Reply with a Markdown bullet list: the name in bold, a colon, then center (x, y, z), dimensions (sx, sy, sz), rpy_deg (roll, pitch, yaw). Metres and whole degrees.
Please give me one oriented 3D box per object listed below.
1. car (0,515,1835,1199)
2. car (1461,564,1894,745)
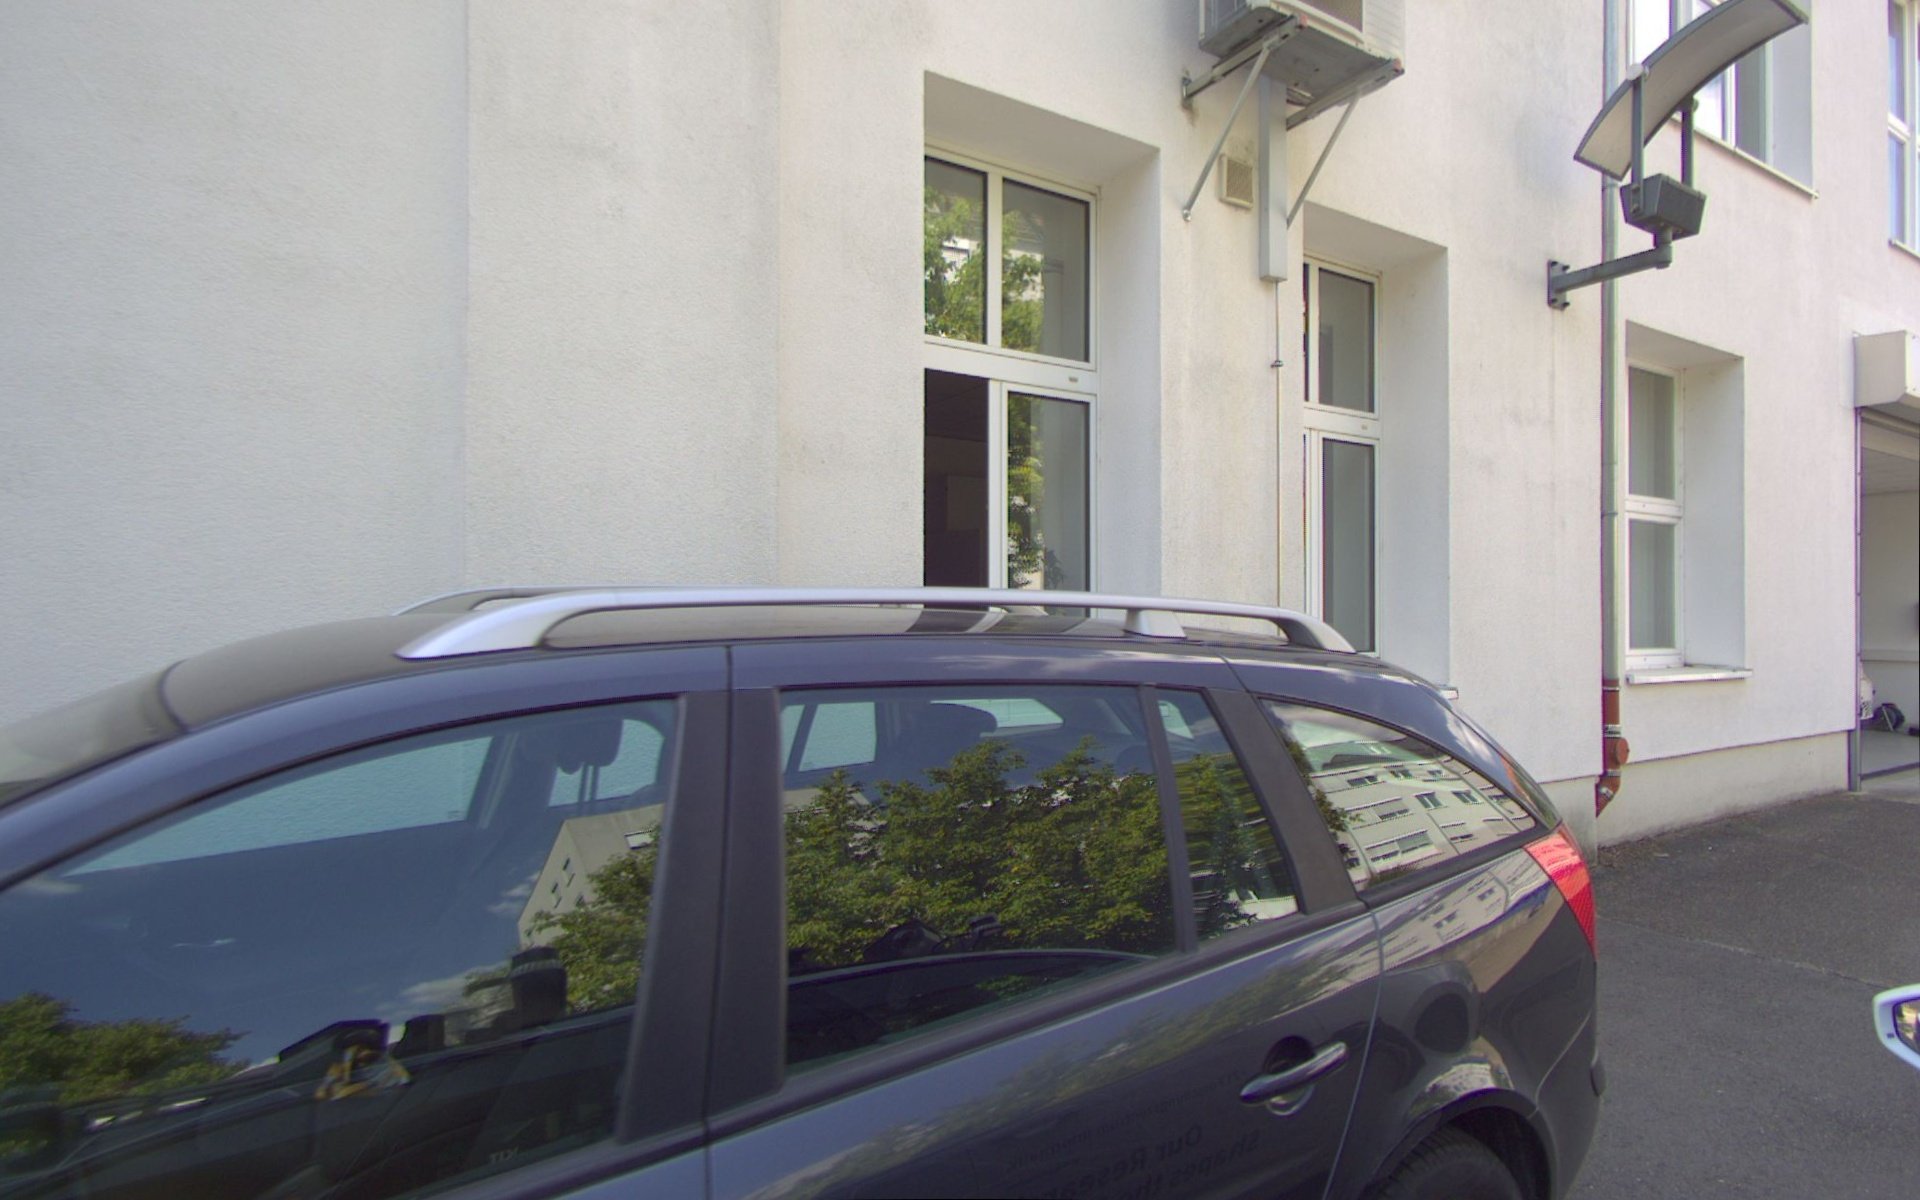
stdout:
- **car**: center (-0.515, 0.686, 1.680), dimensions (4.335, 1.449, 1.746), rpy_deg (0, -1, -31)
- **car**: center (9.567, 0.621, 13.820), dimensions (1.958, 2.052, 4.457), rpy_deg (0, 0, -30)
